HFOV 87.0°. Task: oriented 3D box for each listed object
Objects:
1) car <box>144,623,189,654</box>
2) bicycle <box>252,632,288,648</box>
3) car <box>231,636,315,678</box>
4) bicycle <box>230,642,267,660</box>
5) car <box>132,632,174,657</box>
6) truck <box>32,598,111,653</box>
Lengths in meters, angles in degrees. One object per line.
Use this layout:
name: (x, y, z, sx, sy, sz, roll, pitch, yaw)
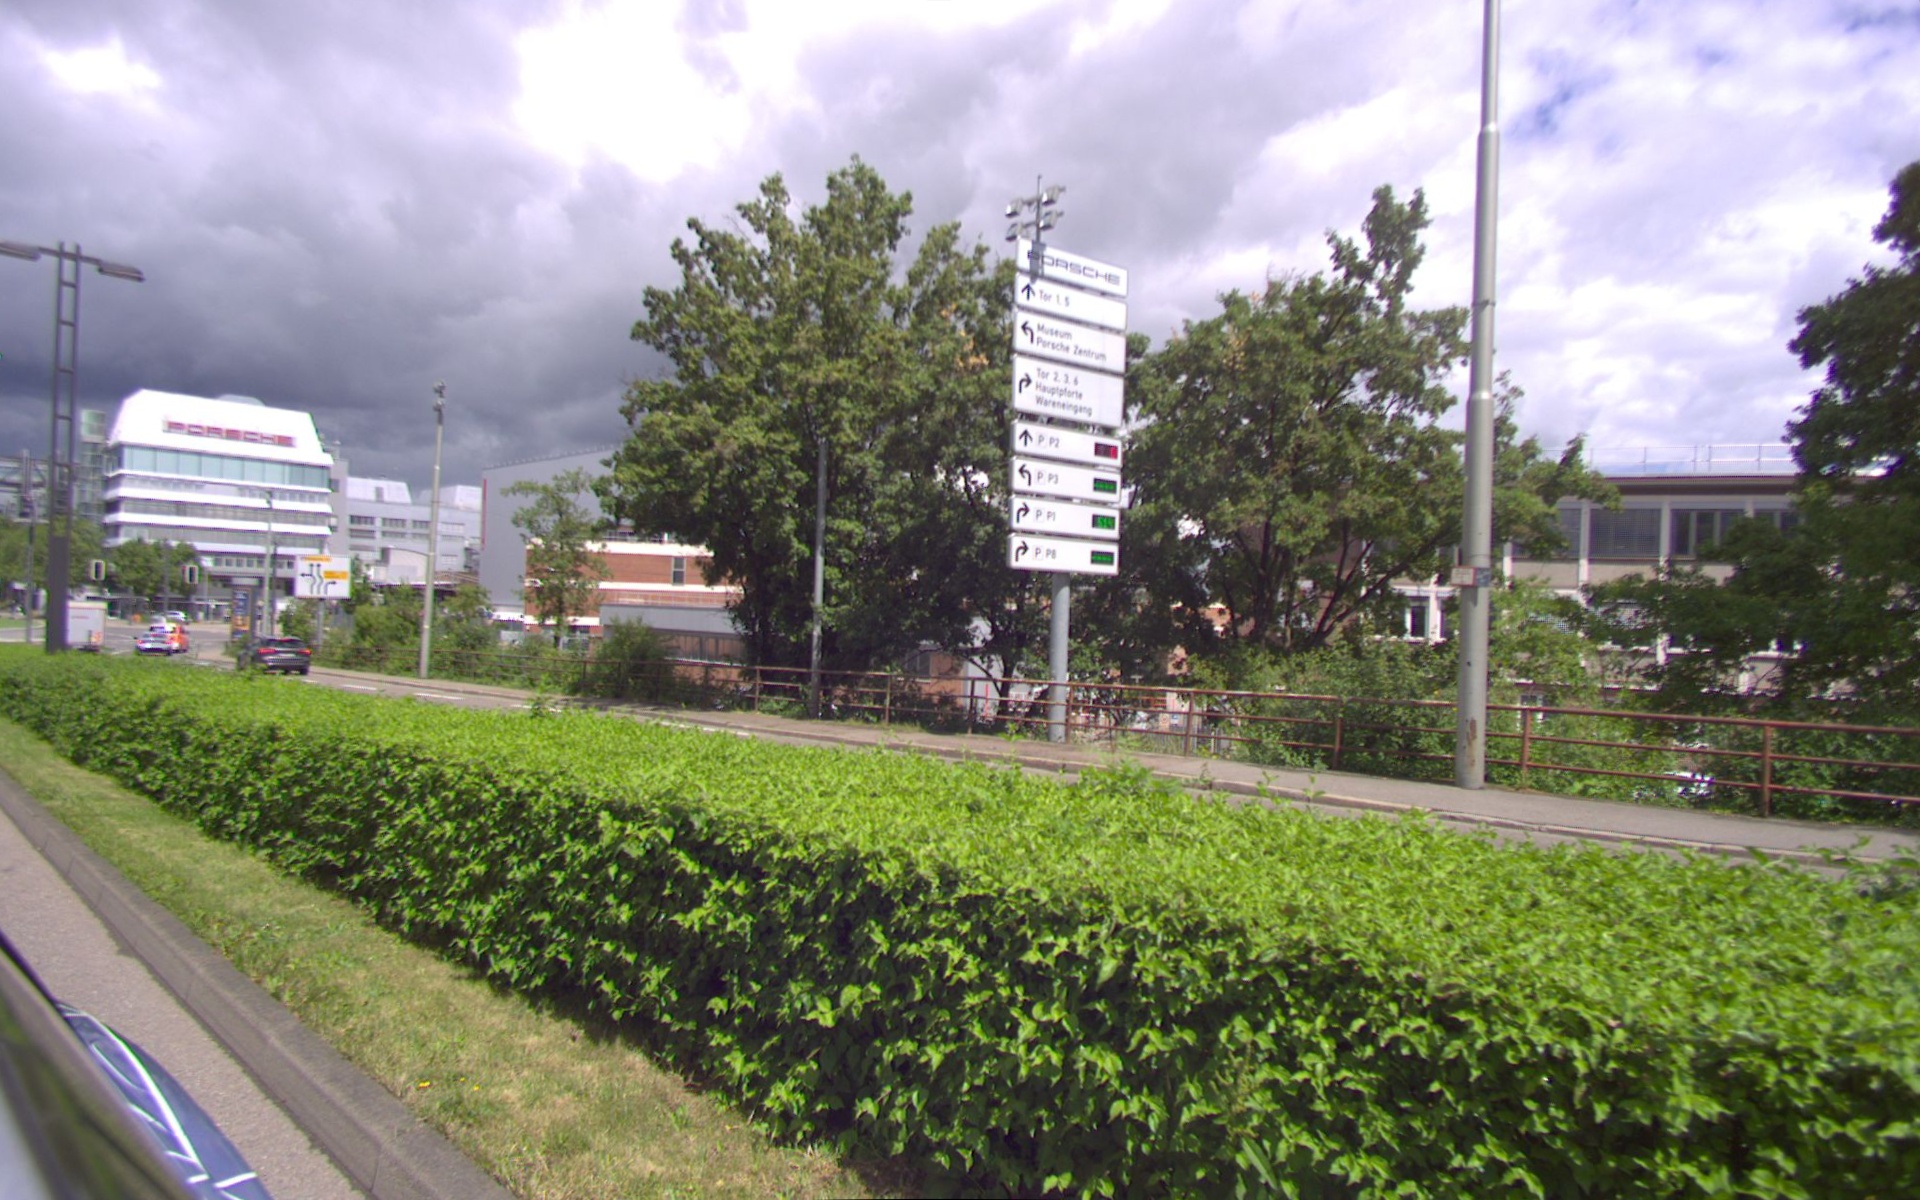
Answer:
car: (-53.471, 2.585, 68.237, 1.966, 1.973, 4.640, 1, -2, -34)
bicycle: (-44.325, 2.551, 65.056, 0.616, 0.996, 1.938, -1, -2, 17)
car: (-26.318, 2.136, 38.727, 1.818, 1.519, 4.563, 3, -3, -45)
bicycle: (-48.690, 3.494, 69.306, 2.012, 1.176, 0.622, 2, -2, -39)
car: (-49.589, 2.719, 62.252, 1.772, 1.433, 4.502, 3, -3, -37)
truck: (-52.668, 1.597, 59.874, 9.380, 2.879, 2.823, -4, -4, 45)
